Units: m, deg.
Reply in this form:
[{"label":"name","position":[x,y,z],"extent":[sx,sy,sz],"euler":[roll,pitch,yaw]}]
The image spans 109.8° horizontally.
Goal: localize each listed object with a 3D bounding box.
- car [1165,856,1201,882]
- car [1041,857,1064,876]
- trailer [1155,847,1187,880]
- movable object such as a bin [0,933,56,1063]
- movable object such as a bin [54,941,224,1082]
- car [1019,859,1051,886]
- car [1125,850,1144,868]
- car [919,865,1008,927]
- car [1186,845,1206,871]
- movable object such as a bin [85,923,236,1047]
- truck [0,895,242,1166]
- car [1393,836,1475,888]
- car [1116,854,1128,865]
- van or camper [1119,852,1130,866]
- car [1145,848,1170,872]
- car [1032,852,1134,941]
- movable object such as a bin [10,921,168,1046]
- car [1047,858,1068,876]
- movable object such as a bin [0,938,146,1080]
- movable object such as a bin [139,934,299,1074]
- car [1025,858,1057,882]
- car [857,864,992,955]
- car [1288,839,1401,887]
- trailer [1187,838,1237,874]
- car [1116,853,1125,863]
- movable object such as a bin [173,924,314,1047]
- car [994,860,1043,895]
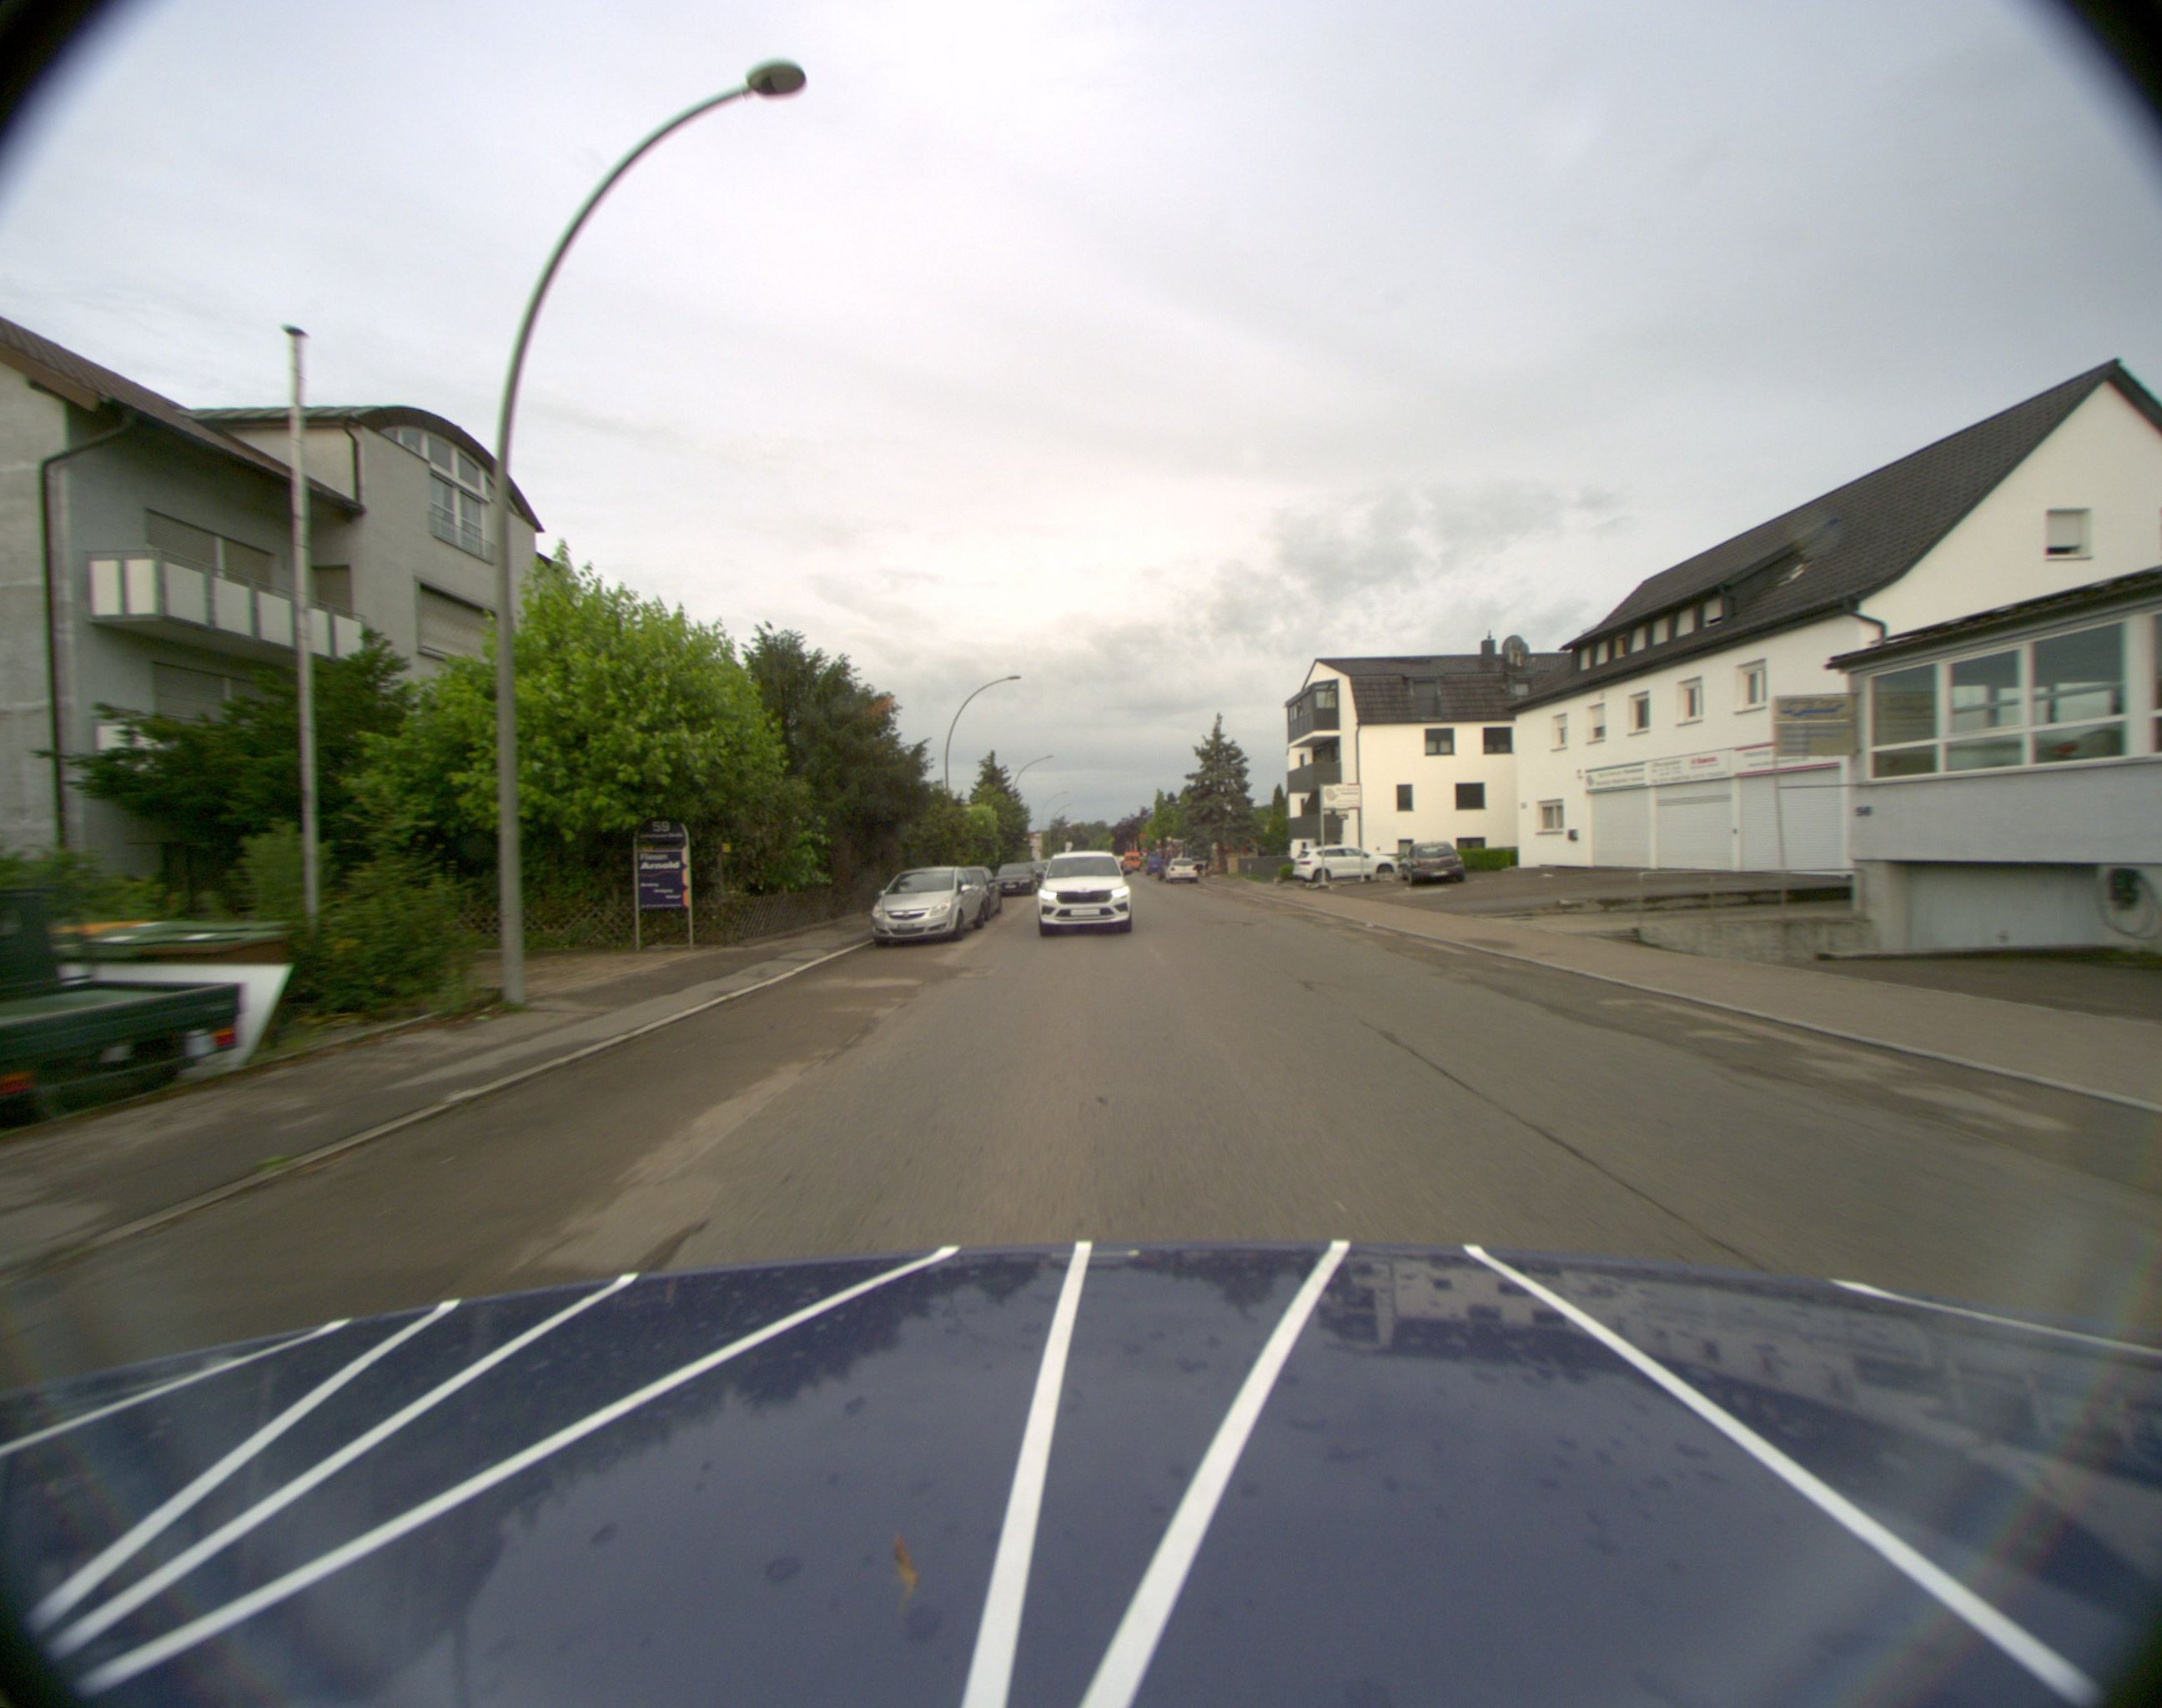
[{"label":"car","position":[6.125,0.865,46.141],"extent":[1.740,1.496,3.871],"euler":[-1,0,1]},{"label":"car","position":[-2.361,1.061,64.474],"extent":[1.677,1.455,3.690],"euler":[-4,0,1]},{"label":"trailer","position":[6.199,0.628,52.651],"extent":[1.721,2.114,4.007],"euler":[-2,1,1]},{"label":"movable object such as a bin","position":[-9.564,1.255,6.477],"extent":[0.671,1.069,0.682],"euler":[-1,1,0]},{"label":"movable object such as a bin","position":[-8.112,1.332,6.573],"extent":[0.576,1.069,0.682],"euler":[-1,1,0]},{"label":"car","position":[-2.591,1.026,43.745],"extent":[1.656,1.431,4.043],"euler":[-1,0,-1]},{"label":"car","position":[7.134,0.635,102.210],"extent":[2.264,2.275,4.531],"euler":[1,0,1]},{"label":"car","position":[-3.123,1.090,20.918],"extent":[1.742,1.395,3.718],"euler":[-4,0,1]},{"label":"car","position":[11.212,0.369,74.191],"extent":[1.569,2.392,3.595],"euler":[-1,0,2]},{"label":"movable object such as a bin","position":[-8.843,1.237,7.329],"extent":[0.576,1.069,0.682],"euler":[-1,1,0]},{"label":"truck","position":[-7.615,1.107,5.158],"extent":[2.559,1.521,1.327],"euler":[-1,1,9]},{"label":"car","position":[12.687,0.224,27.552],"extent":[1.822,1.521,4.003],"euler":[-7,0,14]},{"label":"car","position":[6.634,0.919,122.201],"extent":[1.811,1.761,4.001],"euler":[-1,0,2]},{"label":"van or camper","position":[7.653,0.933,133.773],"extent":[1.811,2.328,4.000],"euler":[-2,0,2]},{"label":"car","position":[7.059,0.568,70.567],"extent":[1.998,2.112,4.755],"euler":[-1,0,2]},{"label":"car","position":[0.081,0.806,16.745],"extent":[1.884,1.650,4.831],"euler":[-1,0,1]},{"label":"movable object such as a bin","position":[-9.492,1.219,7.299],"extent":[0.576,1.069,0.682],"euler":[-1,1,0]},{"label":"car","position":[-2.156,1.175,70.222],"extent":[1.677,1.455,3.551],"euler":[-4,0,1]},{"label":"movable object such as a bin","position":[-8.815,1.306,6.533],"extent":[0.671,1.069,0.682],"euler":[-1,1,0]},{"label":"movable object such as a bin","position":[-7.460,1.277,6.608],"extent":[0.576,1.069,0.682],"euler":[-1,1,0]},{"label":"car","position":[-2.513,0.980,48.474],"extent":[1.766,1.431,4.484],"euler":[-1,0,0]},{"label":"car","position":[-3.074,1.040,15.773],"extent":[1.741,1.493,3.882],"euler":[-4,0,3]},{"label":"car","position":[11.132,0.375,32.334],"extent":[3.997,1.637,2.000],"euler":[-5,0,-1]},{"label":"trailer","position":[11.712,0.145,68.101],"extent":[4.059,3.029,2.168],"euler":[-2,1,1]},{"label":"car","position":[8.774,0.877,168.701],"extent":[1.659,2.220,3.744],"euler":[-2,1,1]},{"label":"movable object such as a bin","position":[-8.138,1.254,7.414],"extent":[0.576,1.069,0.682],"euler":[-1,1,0]},{"label":"car","position":[-2.764,1.012,34.263],"extent":[1.756,1.410,4.110],"euler":[-1,0,1]}]
